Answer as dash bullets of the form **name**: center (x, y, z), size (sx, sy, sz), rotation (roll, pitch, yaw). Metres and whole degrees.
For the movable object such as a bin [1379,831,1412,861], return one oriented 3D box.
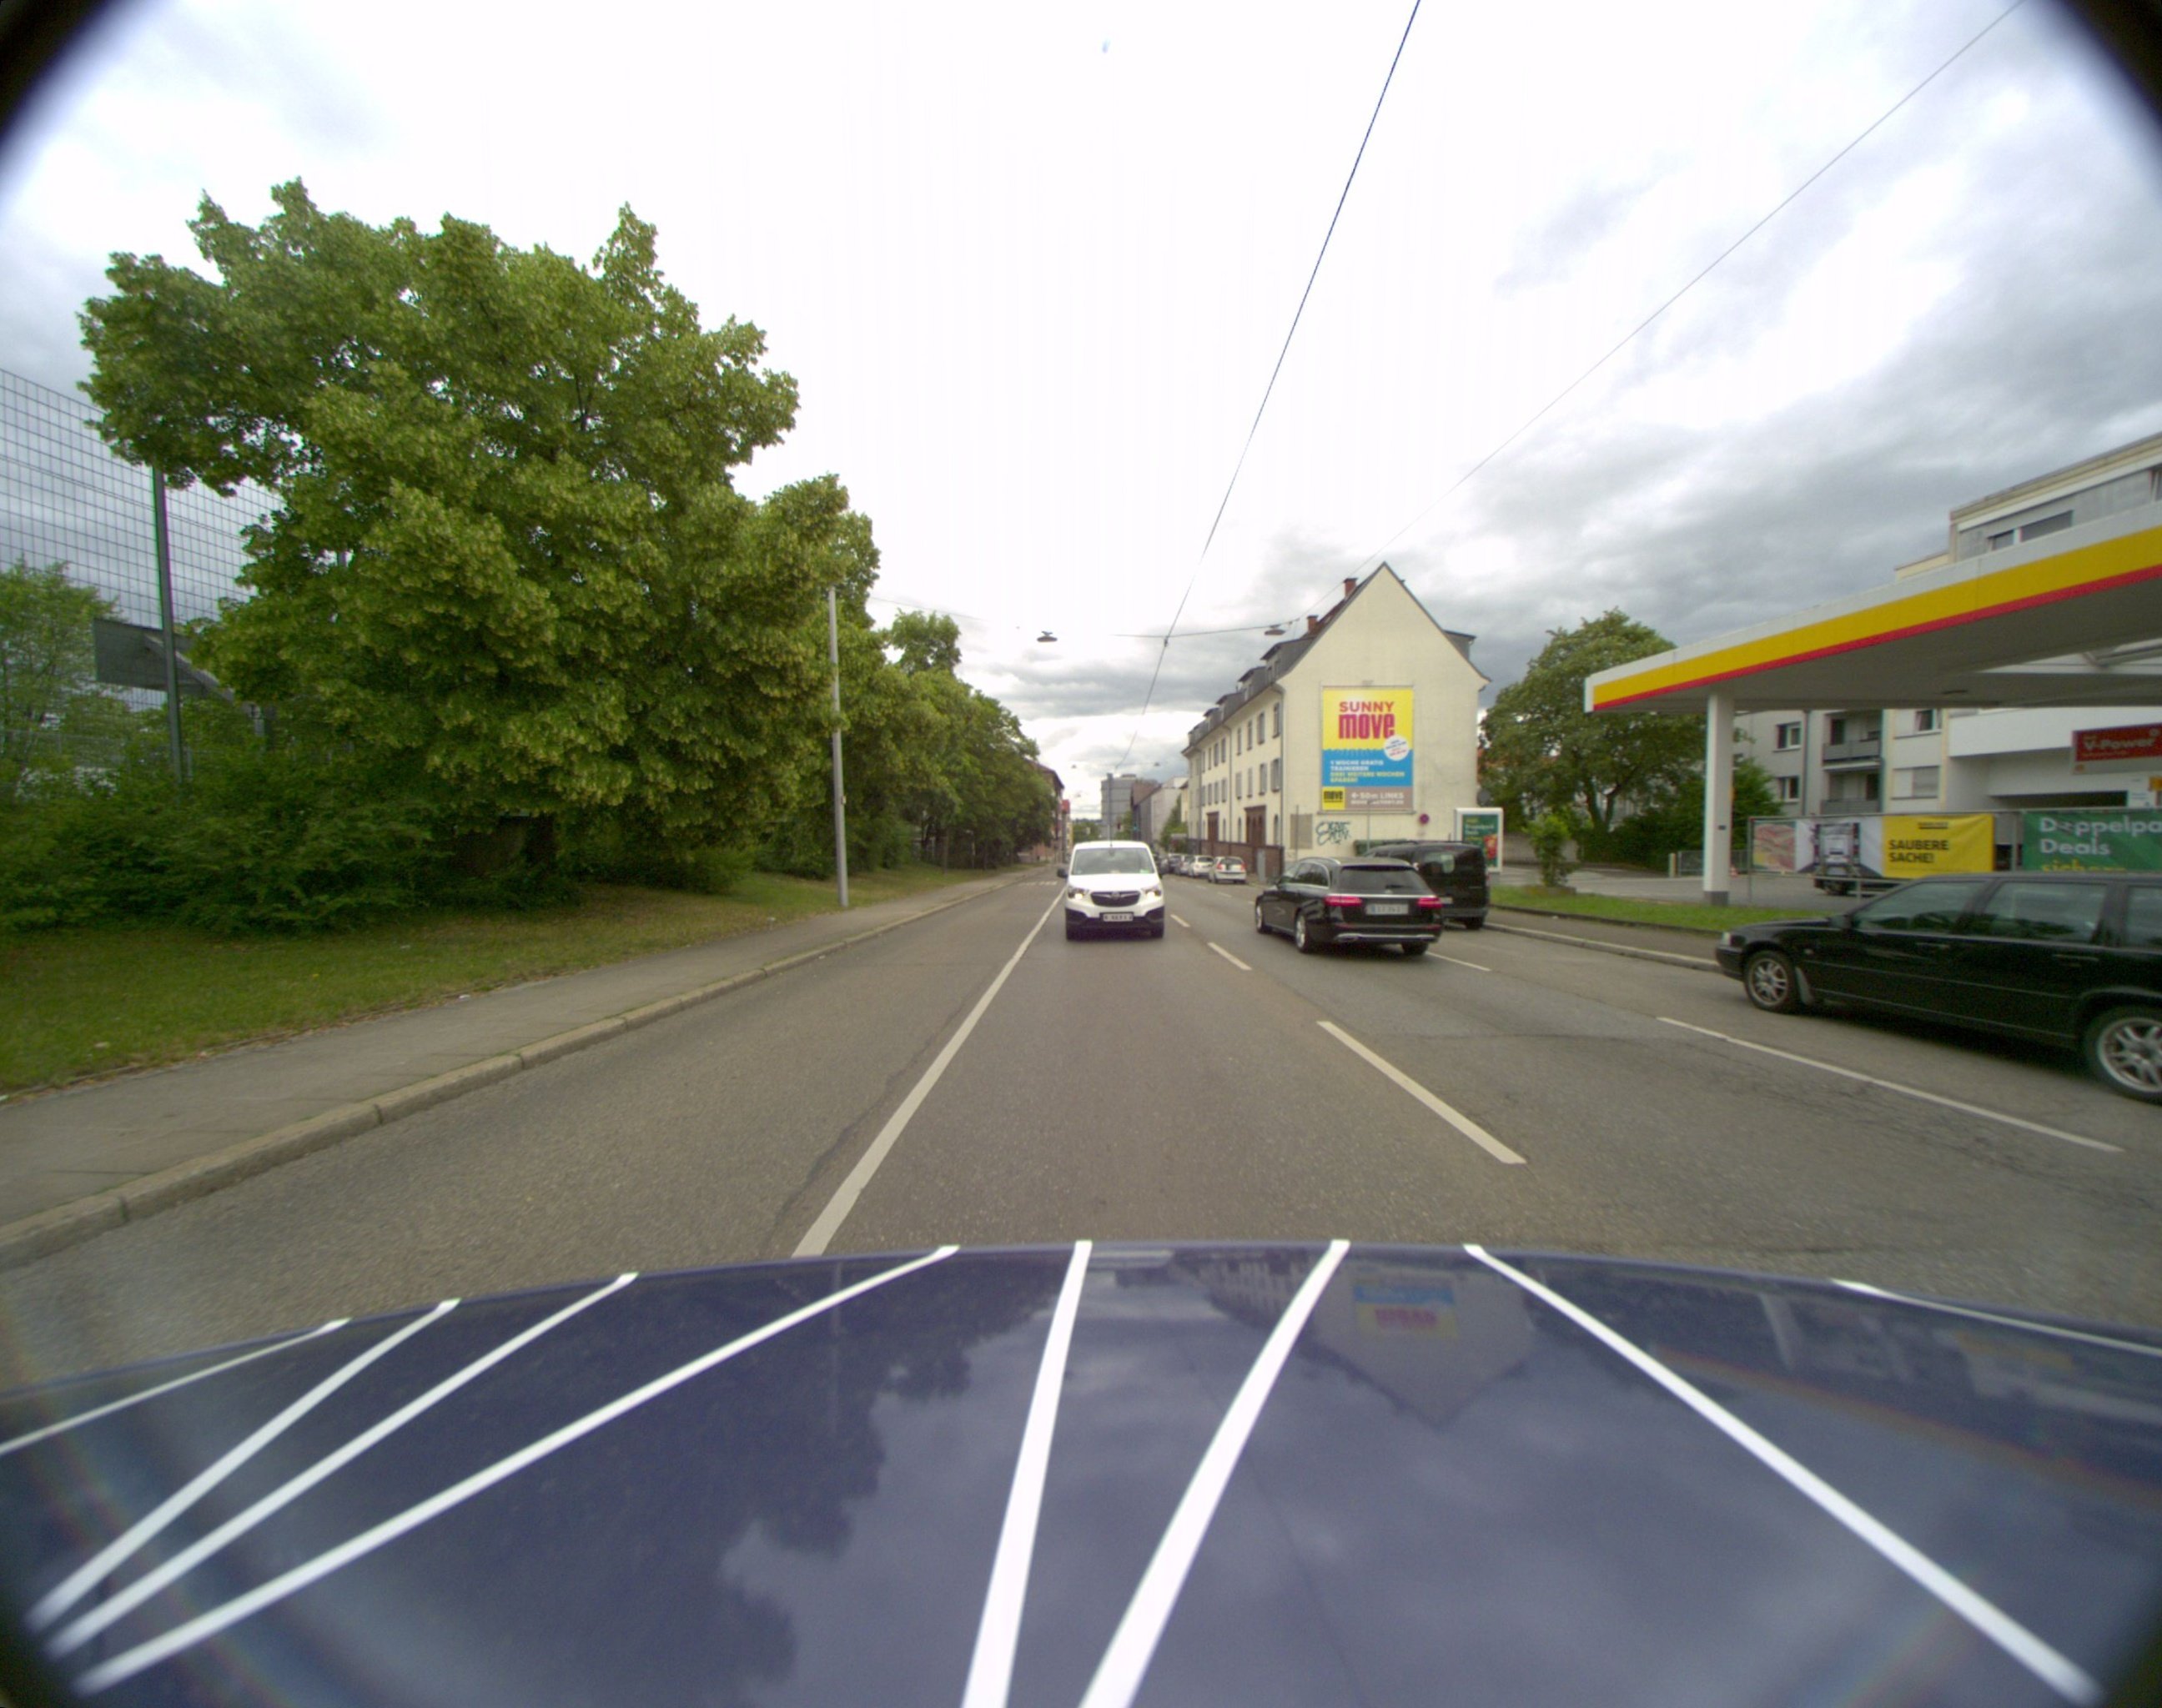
- **movable object such as a bin**: center (16.496, -0.409, 39.865), size (1.268, 1.529, 1.104), rotation (1, 1, 1)

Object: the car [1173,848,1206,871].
- **car**: center (7.880, 0.374, 55.459), size (1.731, 1.549, 4.081), rotation (2, 1, 0)

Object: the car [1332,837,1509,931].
- **car**: center (7.488, 0.568, 17.365), size (1.856, 1.825, 4.701), rotation (1, 1, -1)

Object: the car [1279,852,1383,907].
- **car**: center (7.473, 0.702, 23.145), size (1.795, 1.441, 4.218), rotation (1, 1, 1)

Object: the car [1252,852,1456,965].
- **car**: center (4.148, 0.722, 12.399), size (1.782, 1.458, 4.499), rotation (0, 1, 1)

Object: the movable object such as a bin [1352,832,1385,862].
- **movable object such as a bin**: center (15.078, -0.388, 39.921), size (1.268, 1.529, 1.104), rotation (1, 1, 1)

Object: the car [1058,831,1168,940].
- **car**: center (0.590, 0.560, 15.066), size (1.850, 1.831, 4.284), rotation (-1, -1, 1)

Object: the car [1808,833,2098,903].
- **car**: center (20.148, 0.279, 17.920), size (1.802, 1.412, 4.416), rotation (-1, 1, 1)

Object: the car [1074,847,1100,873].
- **car**: center (0.470, 0.419, 57.118), size (1.850, 1.832, 4.283), rotation (-1, 1, 1)

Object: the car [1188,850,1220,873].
- **car**: center (8.050, 0.459, 50.151), size (1.551, 1.466, 3.603), rotation (0, 1, 0)

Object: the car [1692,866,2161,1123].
- **car**: center (7.340, 0.870, 5.730), size (1.802, 1.423, 4.744), rotation (1, 1, 3)

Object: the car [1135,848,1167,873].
- **car**: center (4.504, 0.409, 49.492), size (1.687, 1.546, 3.718), rotation (1, 1, 0)

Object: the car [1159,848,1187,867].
- **car**: center (7.952, 0.268, 65.929), size (1.850, 1.612, 4.643), rotation (0, 0, 0)

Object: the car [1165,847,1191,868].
- **car**: center (7.707, 0.252, 60.547), size (1.731, 1.590, 4.502), rotation (0, 0, 3)

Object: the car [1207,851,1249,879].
- **car**: center (7.884, 0.565, 40.987), size (1.623, 1.417, 3.665), rotation (0, 0, 1)

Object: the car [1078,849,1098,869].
- **car**: center (0.678, 0.432, 70.910), size (1.850, 1.832, 4.283), rotation (-1, 1, 1)

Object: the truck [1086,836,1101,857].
- **truck**: center (2.121, -1.191, 128.176), size (2.545, 3.478, 8.521), rotation (0, 0, 1)

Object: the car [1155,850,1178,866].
- **car**: center (7.979, 0.377, 71.514), size (1.731, 1.421, 4.191), rotation (0, 0, 0)
